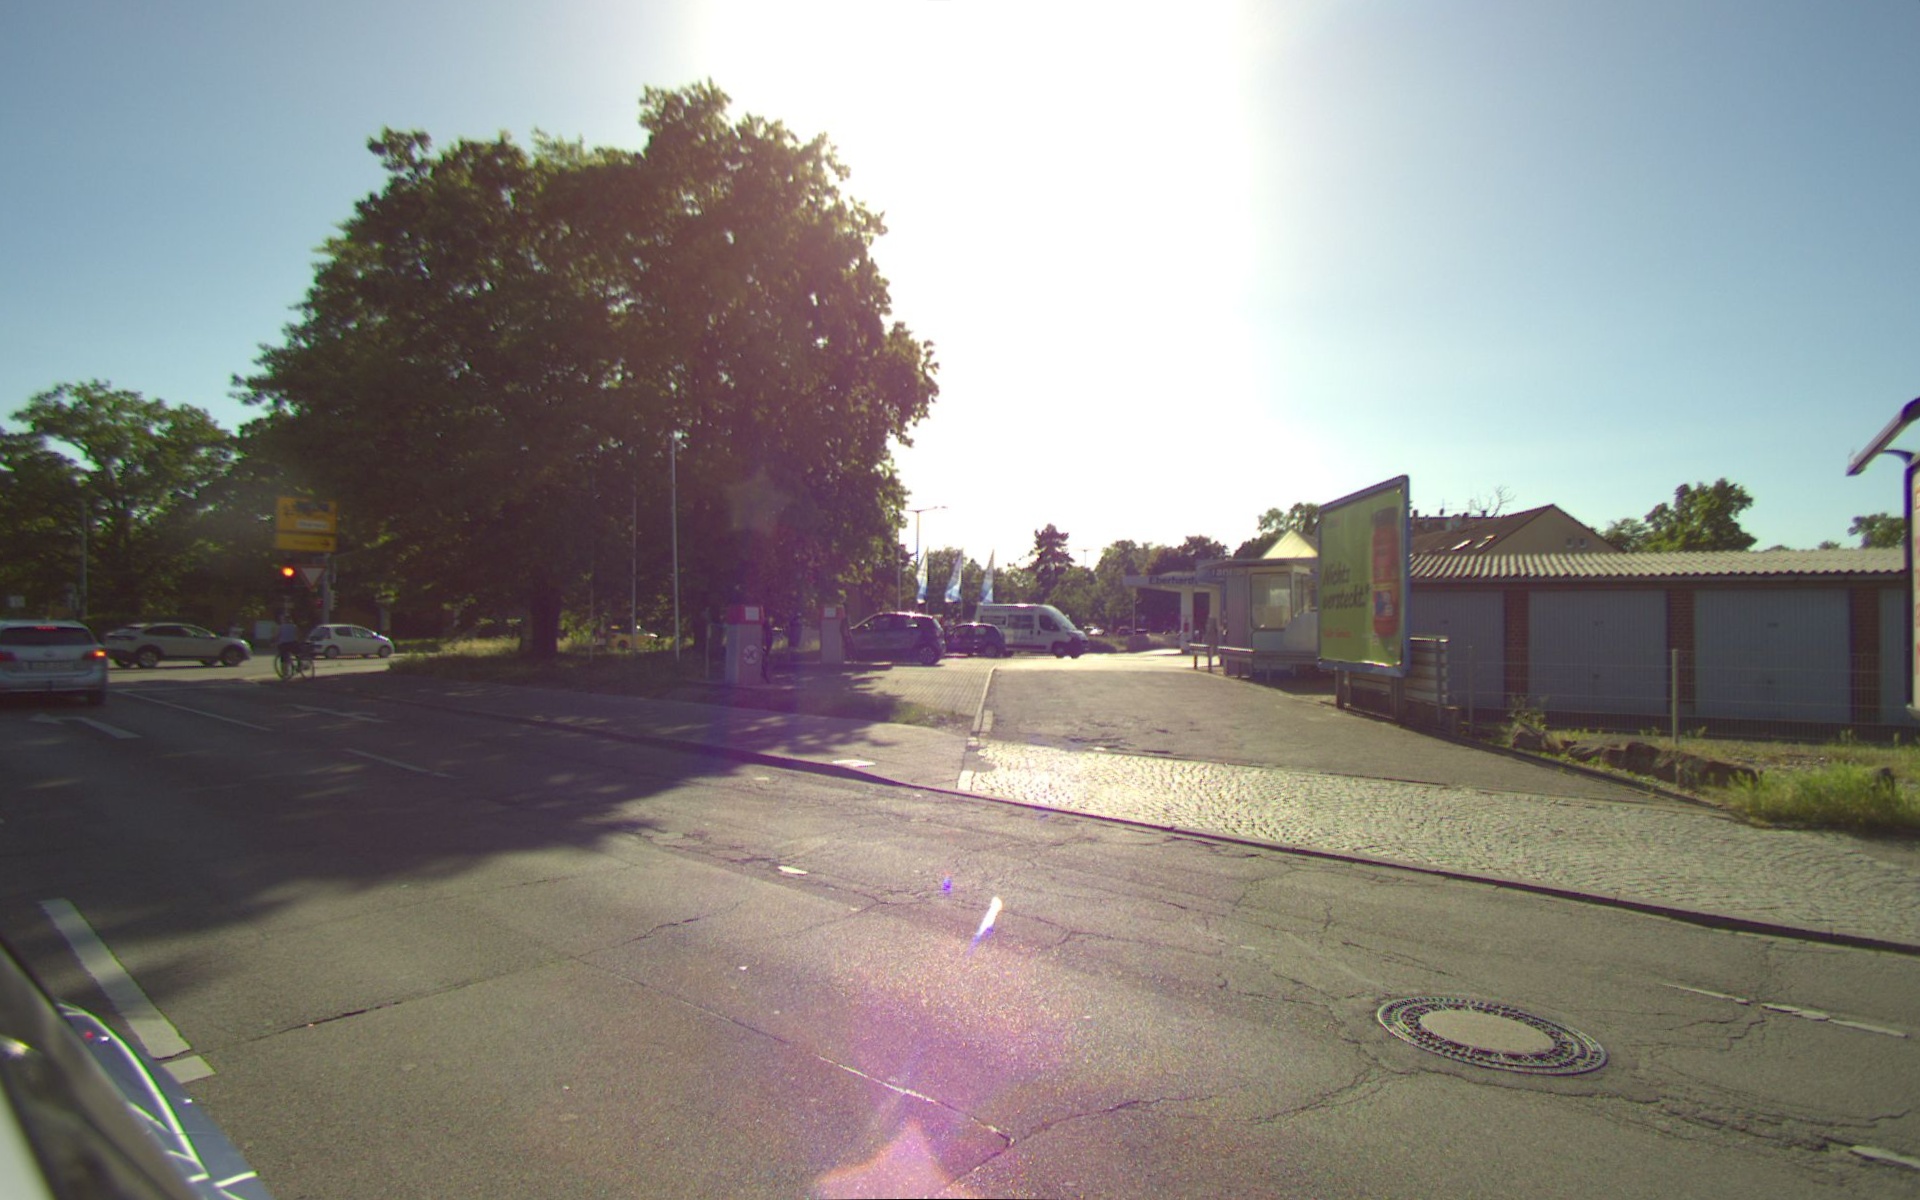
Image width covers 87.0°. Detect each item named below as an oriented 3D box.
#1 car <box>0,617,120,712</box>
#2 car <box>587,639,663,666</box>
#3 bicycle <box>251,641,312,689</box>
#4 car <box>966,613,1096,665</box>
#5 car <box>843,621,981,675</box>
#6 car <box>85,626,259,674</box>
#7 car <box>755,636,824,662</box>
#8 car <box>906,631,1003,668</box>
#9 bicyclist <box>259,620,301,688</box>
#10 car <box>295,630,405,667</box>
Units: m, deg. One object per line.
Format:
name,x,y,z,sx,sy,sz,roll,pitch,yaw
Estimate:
car,-16.756,1.109,18.090,4.886,1.500,1.817,-2,-5,41
car,-19.126,3.034,57.952,1.685,1.451,4.081,0,-3,28
bicycle,-16.852,1.600,25.119,2.021,1.150,0.522,-2,-4,35
car,3.275,1.788,47.084,5.627,2.115,1.981,2,-2,28
car,-1.405,1.440,30.687,3.950,1.386,1.757,3,-2,6
car,-27.249,1.762,35.159,1.913,1.497,4.320,2,-3,30
car,-11.084,3.203,65.916,1.916,1.497,4.312,1,-3,35
car,-0.205,2.088,42.968,3.863,1.347,1.568,2,-2,10
bicyclist,-16.902,1.341,25.156,0.828,1.654,0.536,-2,-4,35
car,-26.917,2.102,44.772,1.685,1.451,3.874,0,0,28
